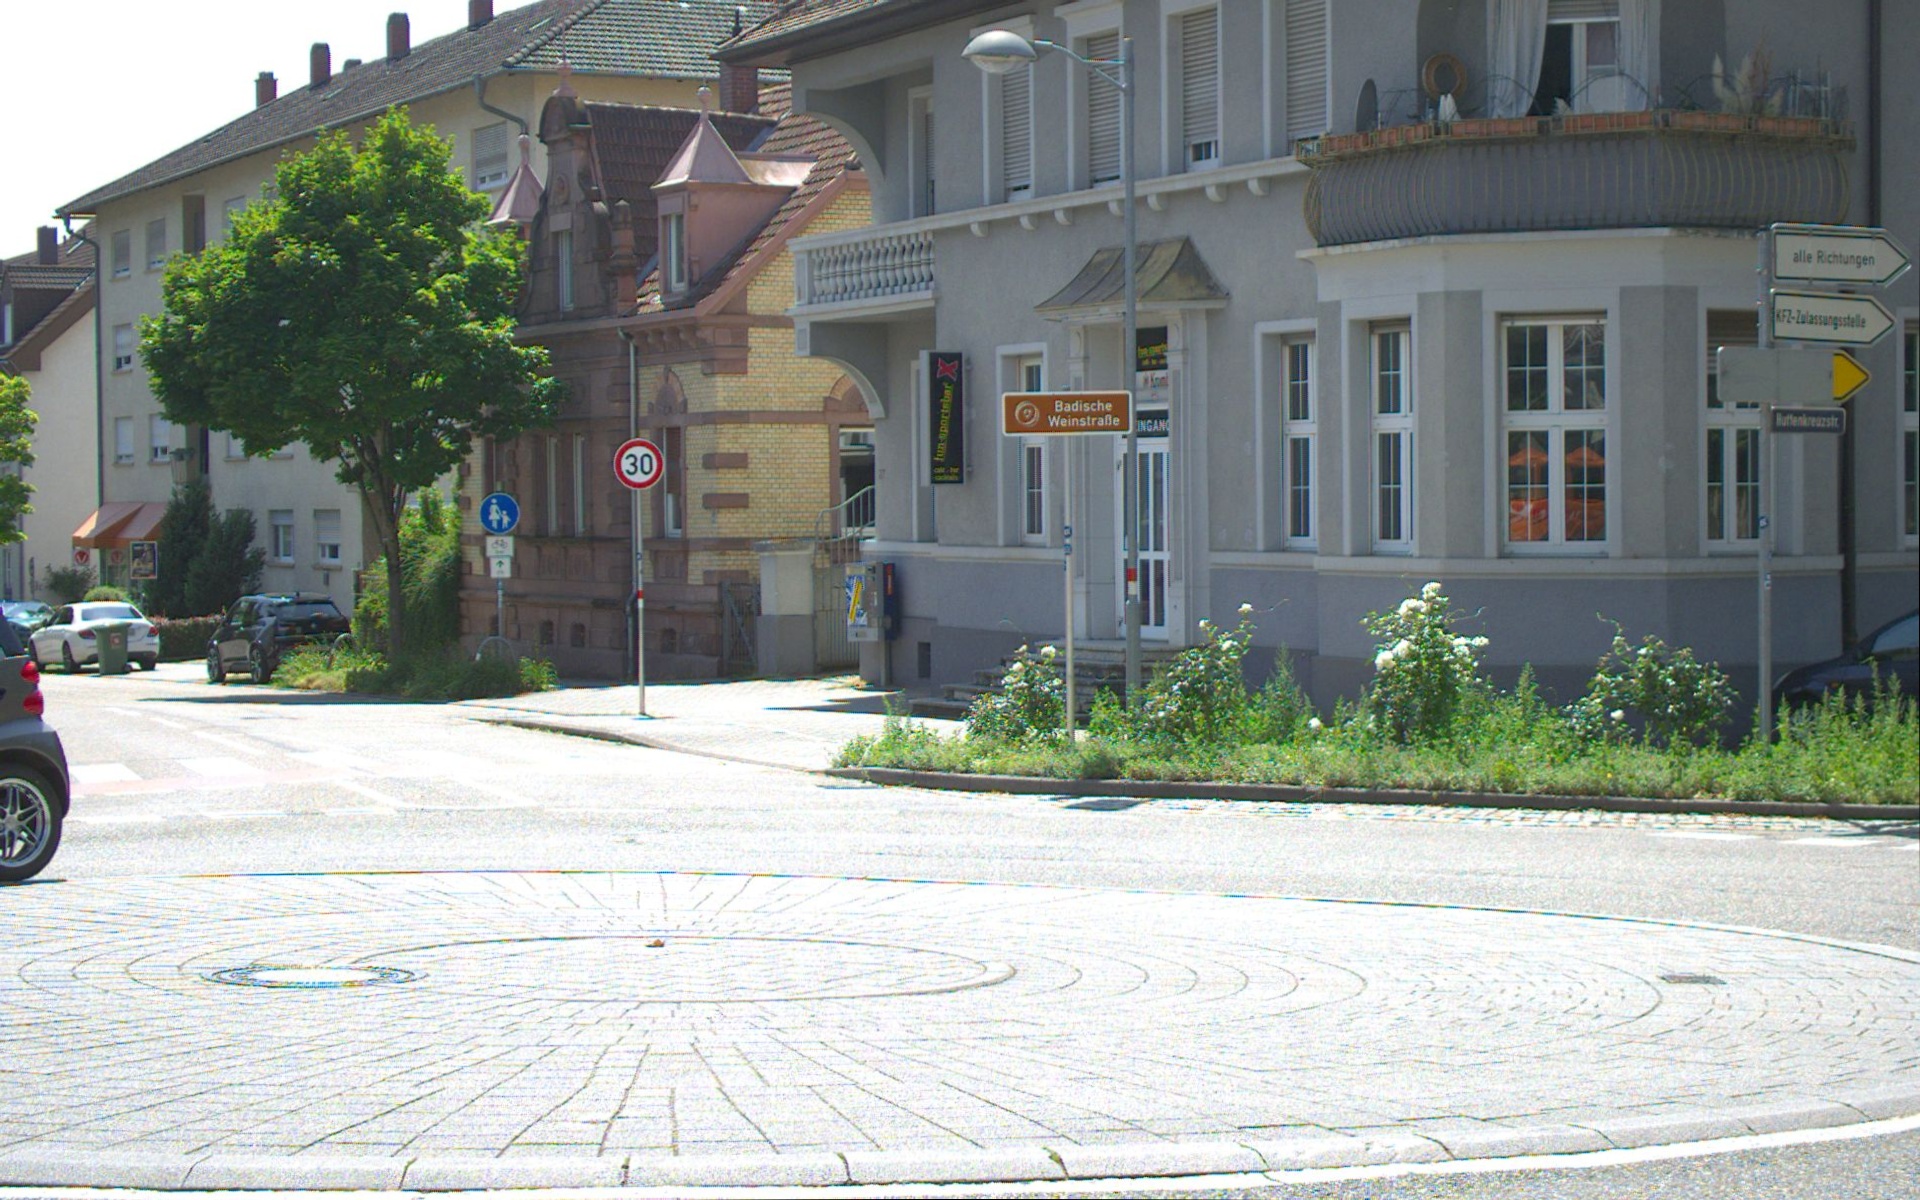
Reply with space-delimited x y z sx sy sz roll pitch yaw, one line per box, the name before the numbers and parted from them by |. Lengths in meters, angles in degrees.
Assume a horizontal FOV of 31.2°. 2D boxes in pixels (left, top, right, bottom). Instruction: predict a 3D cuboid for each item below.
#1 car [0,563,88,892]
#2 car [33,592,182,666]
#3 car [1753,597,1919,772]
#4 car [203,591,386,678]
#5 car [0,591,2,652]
car | -5.656 0.585 15.819 1.569 1.525 2.782 0 0 43
car | -18.161 0.592 73.139 1.993 1.504 4.419 0 0 -29
car | 8.759 0.710 29.254 1.718 1.455 3.793 0 0 -33
car | -12.147 0.598 62.527 1.993 1.504 4.419 0 0 -29
car | -25.686 0.524 86.656 1.993 1.504 4.419 0 0 -29
